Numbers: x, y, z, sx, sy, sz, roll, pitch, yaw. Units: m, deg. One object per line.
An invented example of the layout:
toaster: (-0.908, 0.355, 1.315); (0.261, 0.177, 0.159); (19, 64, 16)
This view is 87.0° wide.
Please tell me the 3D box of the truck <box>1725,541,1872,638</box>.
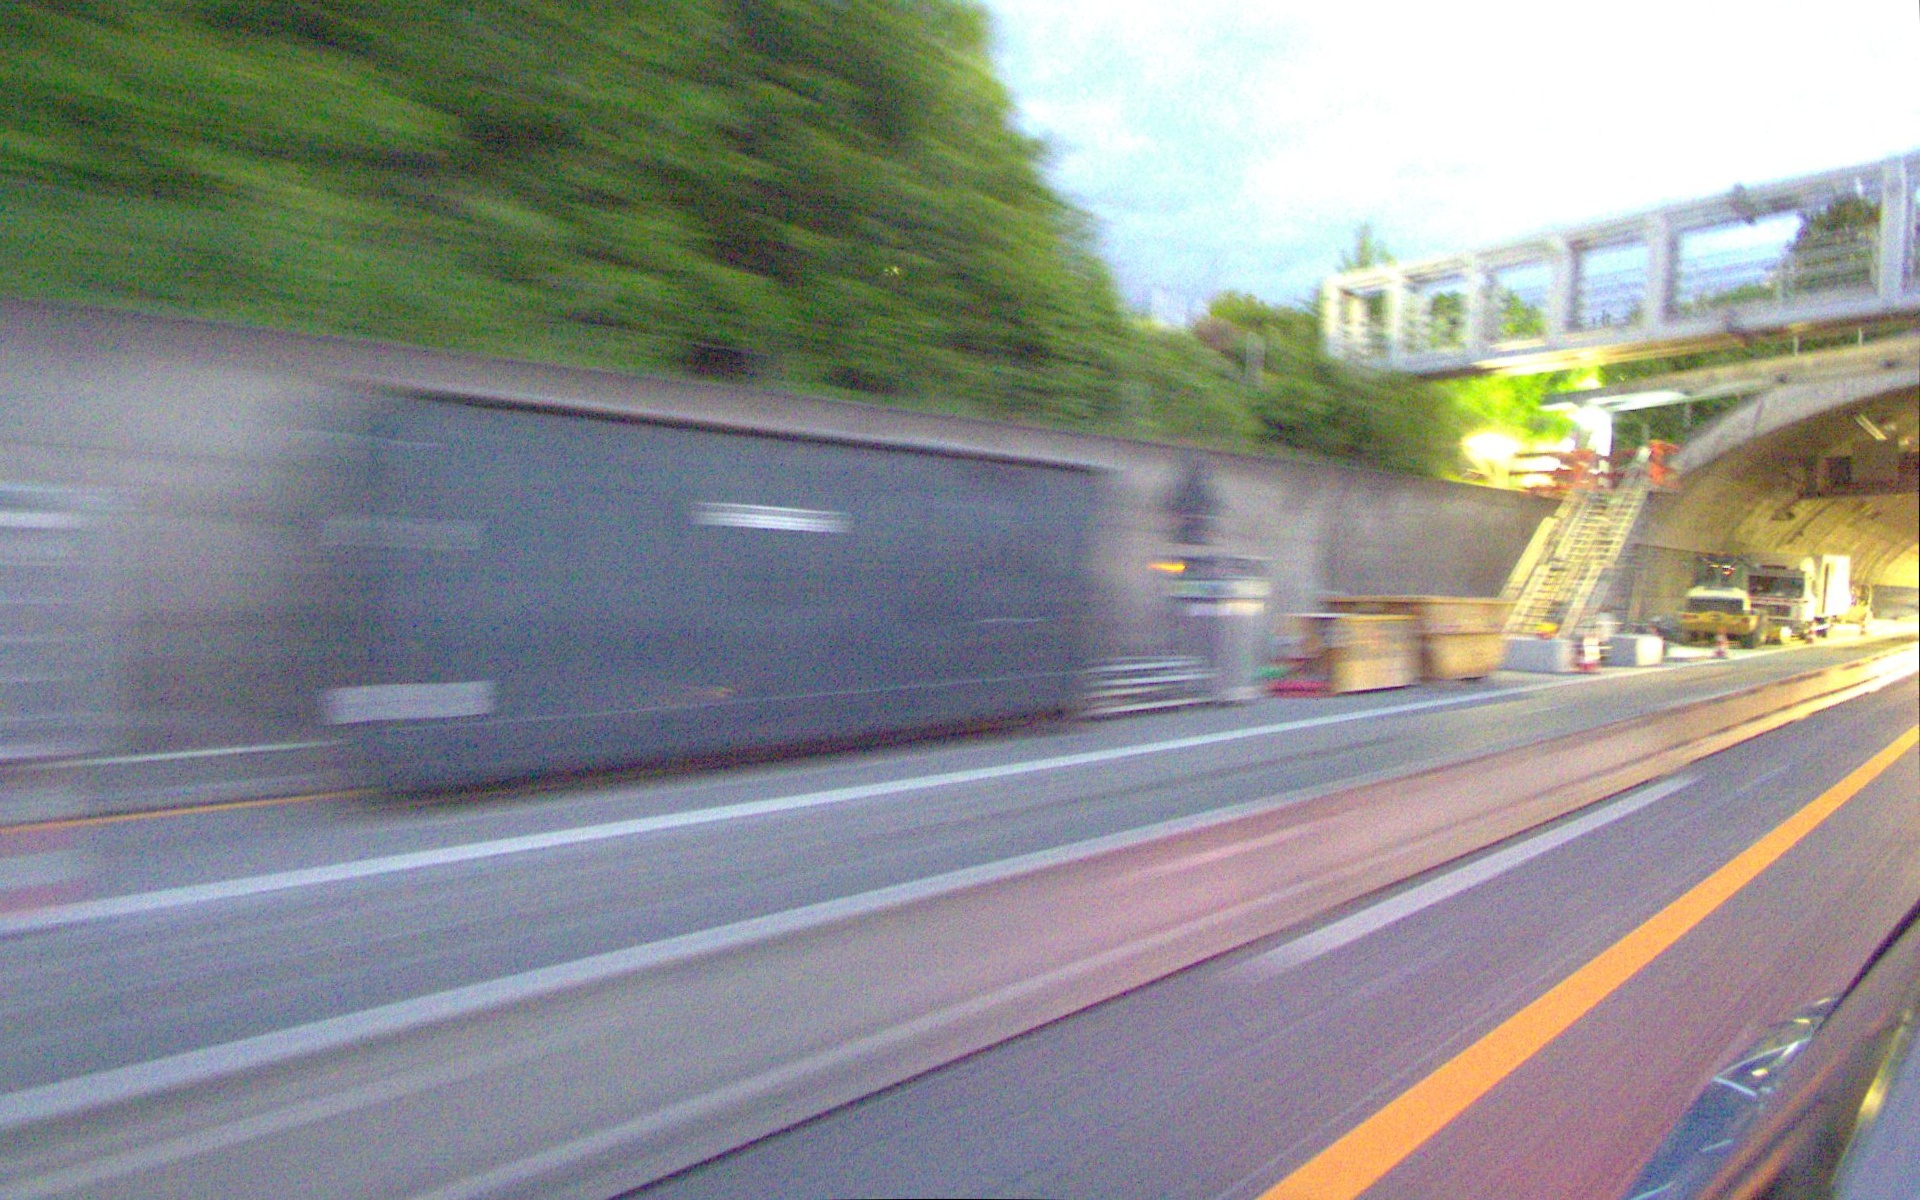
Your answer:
truck: (31.911, -0.401, 38.403); (8.204, 3.327, 2.823); (-1, 0, -40)

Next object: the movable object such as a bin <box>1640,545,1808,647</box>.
movable object such as a bin: (24.320, -0.145, 32.086); (7.073, 2.863, 2.974); (-1, 0, -42)
